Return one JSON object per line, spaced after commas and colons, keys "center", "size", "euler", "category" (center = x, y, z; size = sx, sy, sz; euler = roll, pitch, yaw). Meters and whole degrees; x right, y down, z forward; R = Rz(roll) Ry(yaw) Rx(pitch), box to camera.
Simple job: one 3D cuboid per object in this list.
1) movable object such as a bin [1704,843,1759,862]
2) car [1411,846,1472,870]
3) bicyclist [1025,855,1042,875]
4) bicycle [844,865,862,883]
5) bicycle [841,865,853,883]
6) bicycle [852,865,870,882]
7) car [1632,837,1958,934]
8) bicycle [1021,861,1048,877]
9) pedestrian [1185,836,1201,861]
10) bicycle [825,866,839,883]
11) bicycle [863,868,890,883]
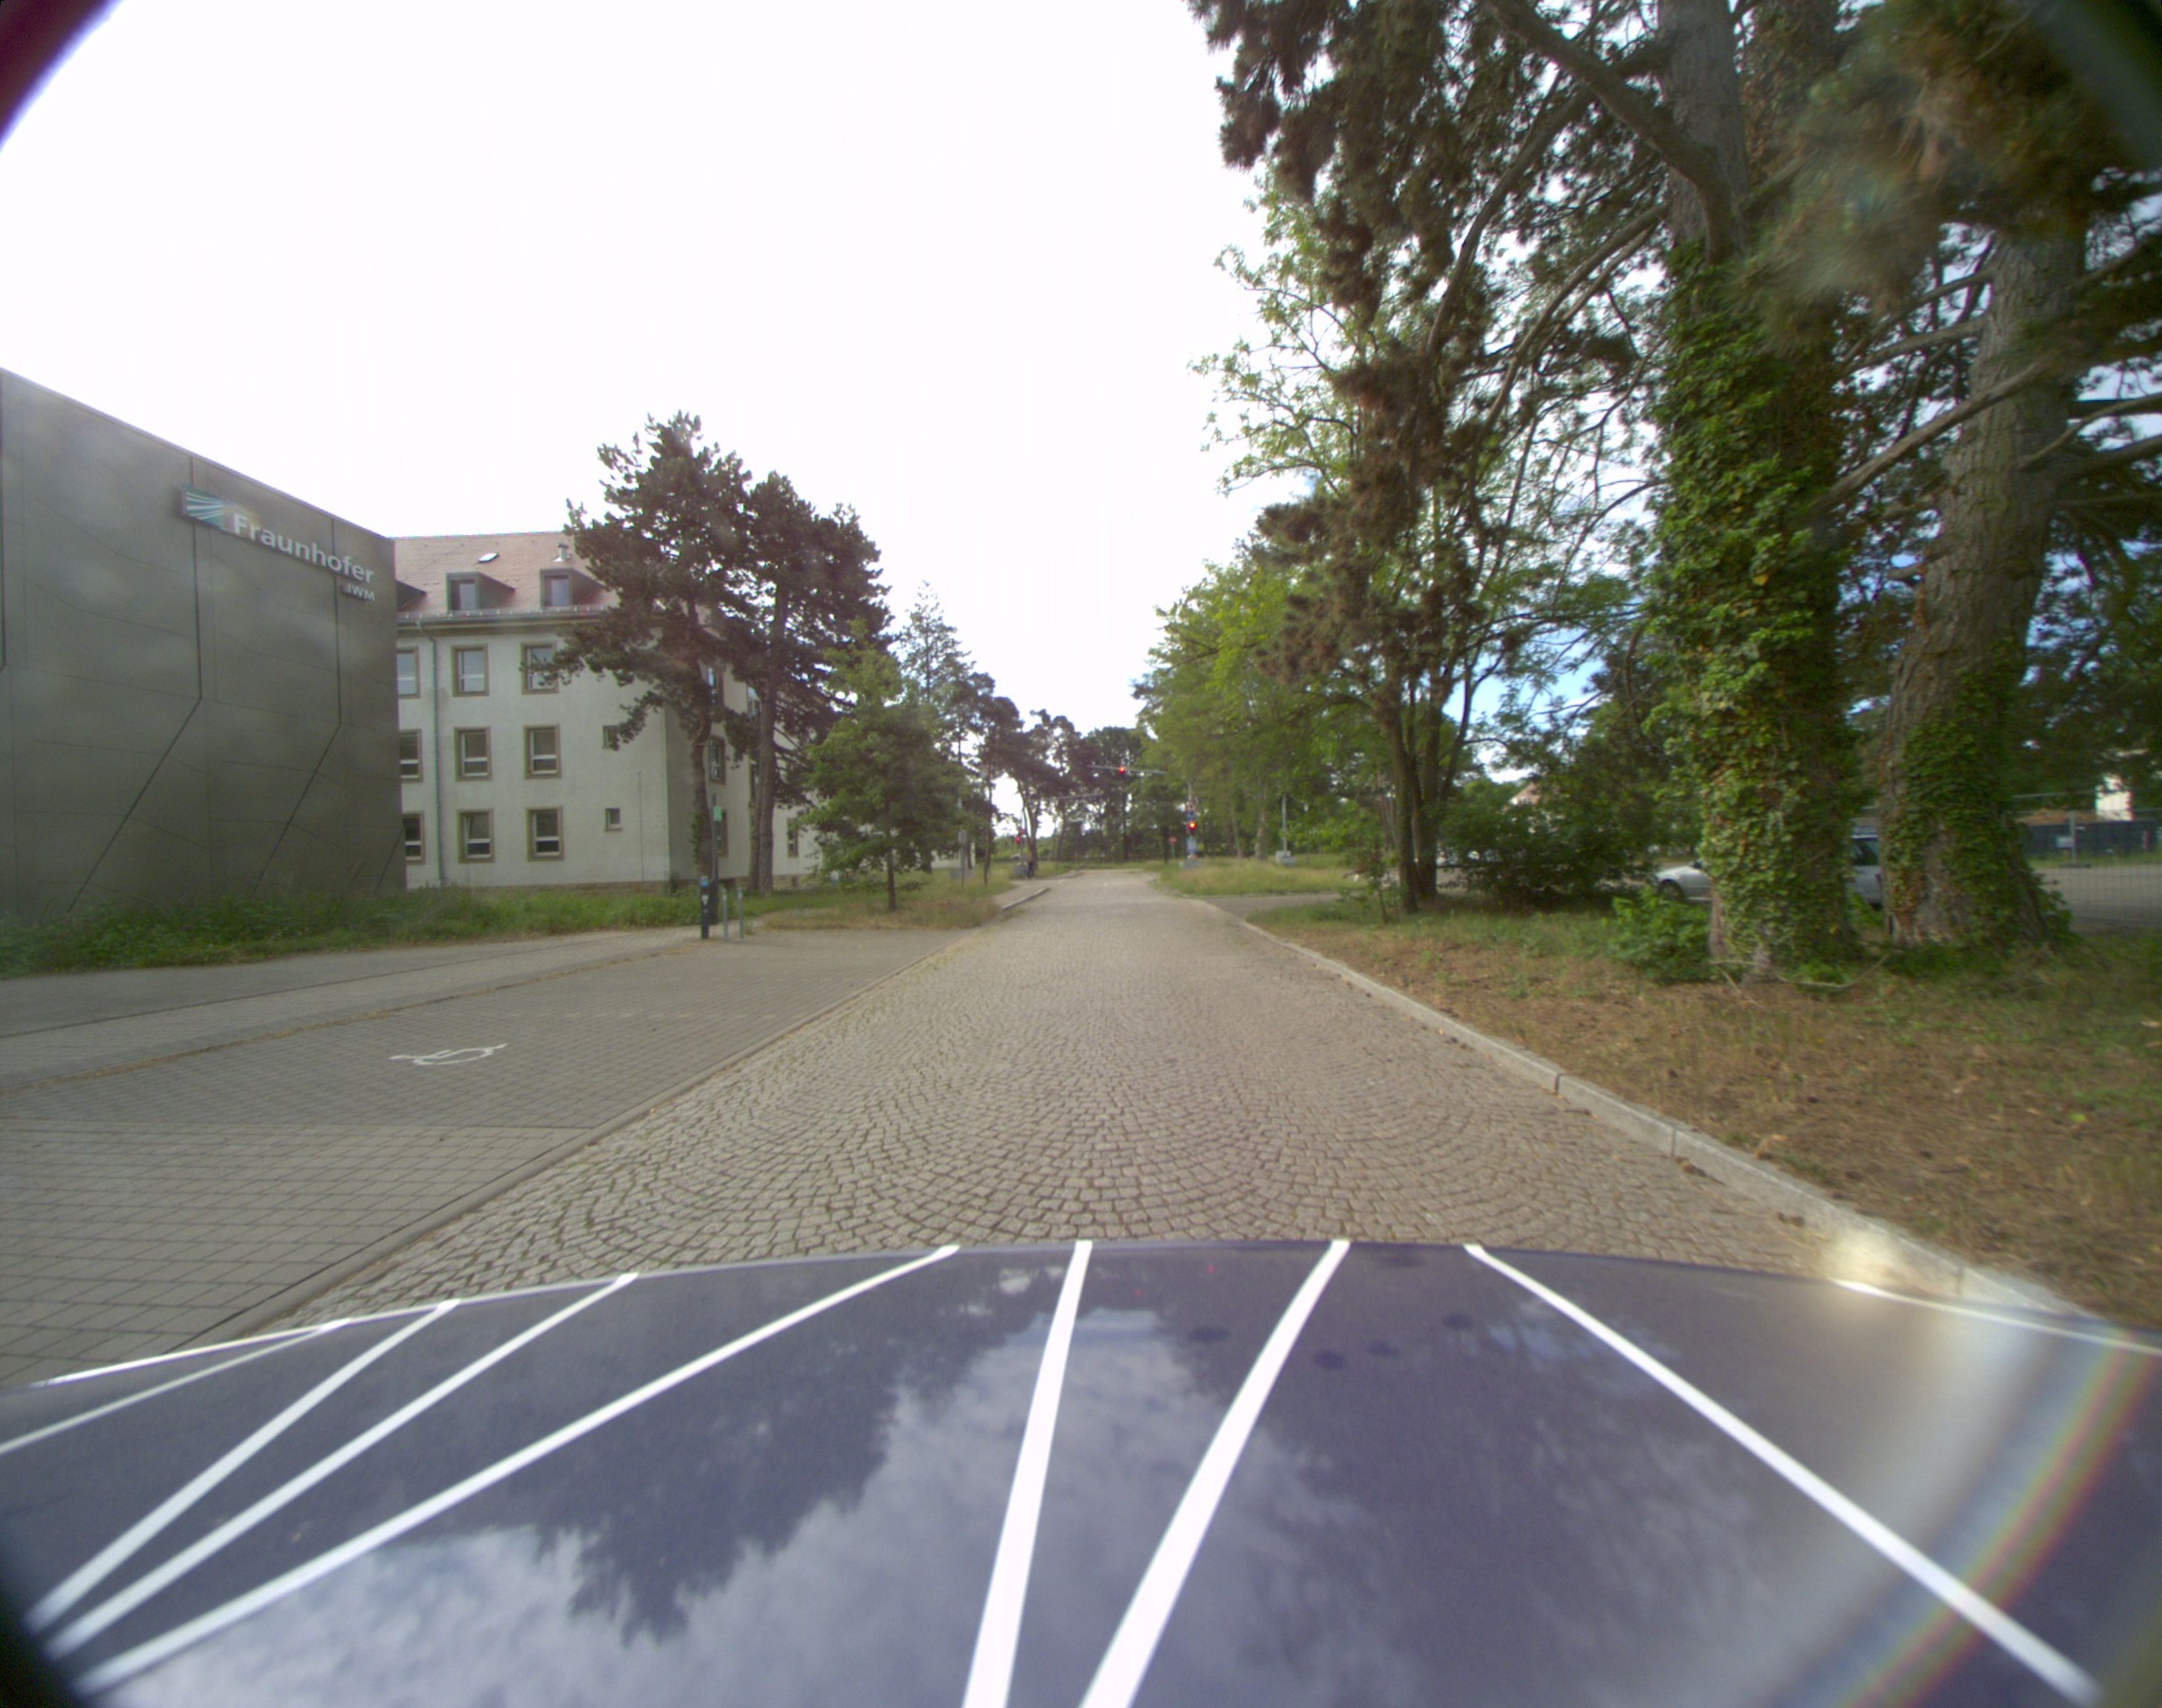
{"center": [32.818, -0.051, 38.362], "size": [1.041, 0.927, 1.935], "euler": [-1, 0, -5], "category": "movable object such as a bin"}
{"center": [24.116, 0.288, 51.057], "size": [1.840, 1.441, 4.656], "euler": [-2, -2, -1], "category": "car"}
{"center": [-3.905, 0.927, 62.753], "size": [0.962, 1.625, 0.919], "euler": [-2, 0, 39], "category": "bicyclist"}
{"center": [-18.024, 1.555, 60.102], "size": [0.572, 1.324, 1.839], "euler": [-2, 0, 10], "category": "bicycle"}
{"center": [-18.520, 1.583, 60.128], "size": [0.482, 1.324, 1.837], "euler": [-2, 0, -3], "category": "bicycle"}
{"center": [-17.393, 1.547, 60.200], "size": [0.572, 1.324, 1.839], "euler": [-2, 0, 10], "category": "bicycle"}
{"center": [12.589, 0.486, 13.908], "size": [1.720, 1.430, 4.467], "euler": [-2, 0, -1], "category": "car"}
{"center": [-3.860, 1.227, 62.796], "size": [0.962, 1.268, 2.168], "euler": [-2, 0, 39], "category": "bicycle"}
{"center": [7.020, -0.348, 47.654], "size": [0.882, 1.508, 0.822], "euler": [-2, 0, 16], "category": "pedestrian"}
{"center": [-19.718, 1.631, 60.109], "size": [0.572, 1.324, 1.837], "euler": [-2, 0, -3], "category": "bicycle"}
{"center": [-15.742, 1.636, 58.483], "size": [1.836, 1.079, 0.573], "euler": [-2, 2, 5], "category": "bicycle"}
